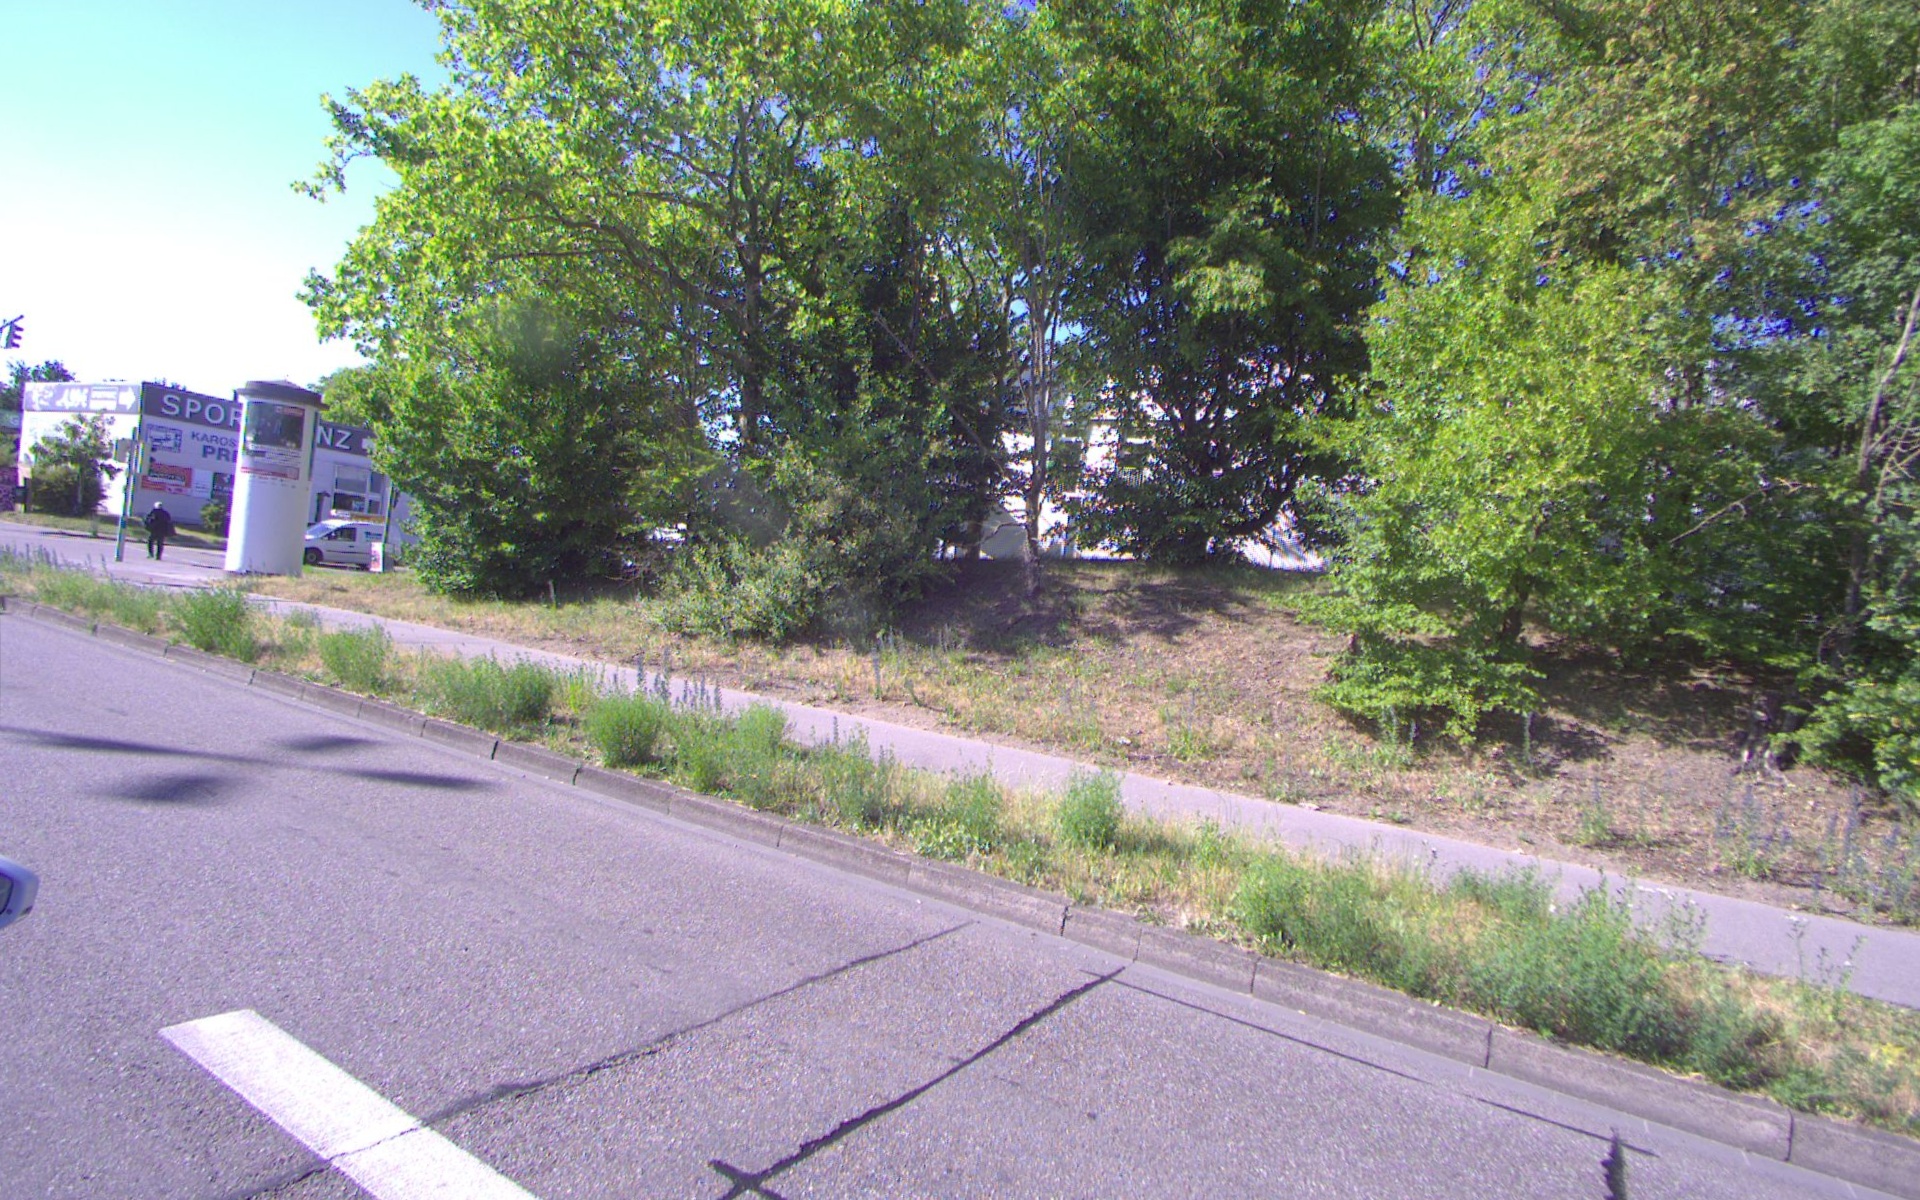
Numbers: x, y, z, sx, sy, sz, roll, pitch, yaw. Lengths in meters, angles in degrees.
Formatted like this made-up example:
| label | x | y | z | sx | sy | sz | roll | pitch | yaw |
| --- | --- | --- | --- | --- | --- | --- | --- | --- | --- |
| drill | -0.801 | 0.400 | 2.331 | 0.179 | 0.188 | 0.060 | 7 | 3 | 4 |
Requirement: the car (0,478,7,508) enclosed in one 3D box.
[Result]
| label | x | y | z | sx | sy | sz | roll | pitch | yaw |
| --- | --- | --- | --- | --- | --- | --- | --- | --- | --- |
| car | -49.226 | -5.474 | 48.466 | 1.828 | 1.472 | 4.490 | 7 | 1 | 33 |

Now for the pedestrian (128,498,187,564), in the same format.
| label | x | y | z | sx | sy | sz | roll | pitch | yaw |
| --- | --- | --- | --- | --- | --- | --- | --- | --- | --- |
| pedestrian | -23.480 | -2.021 | 29.449 | 0.923 | 1.755 | 0.927 | 6 | -1 | 31 |

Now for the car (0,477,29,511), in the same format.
| label | x | y | z | sx | sy | sz | roll | pitch | yaw |
| --- | --- | --- | --- | --- | --- | --- | --- | --- | --- |
| car | -46.875 | -5.208 | 47.096 | 1.828 | 1.472 | 4.490 | 7 | 1 | 33 |

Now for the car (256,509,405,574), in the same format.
| label | x | y | z | sx | sy | sz | roll | pitch | yaw |
| --- | --- | --- | --- | --- | --- | --- | --- | --- | --- |
| car | -23.831 | -2.193 | 38.266 | 1.735 | 1.824 | 4.387 | 9 | 1 | 30 |

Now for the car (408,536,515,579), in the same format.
| label | x | y | z | sx | sy | sz | roll | pitch | yaw |
| --- | --- | --- | --- | --- | --- | --- | --- | --- | --- |
| car | -22.938 | -1.928 | 46.445 | 1.752 | 1.509 | 4.046 | 7 | 1 | 30 |

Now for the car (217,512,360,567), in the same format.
| label | x | y | z | sx | sy | sz | roll | pitch | yaw |
| --- | --- | --- | --- | --- | --- | --- | --- | --- | --- |
| car | -26.607 | -2.368 | 40.015 | 1.735 | 1.568 | 4.292 | 9 | 1 | 30 |
